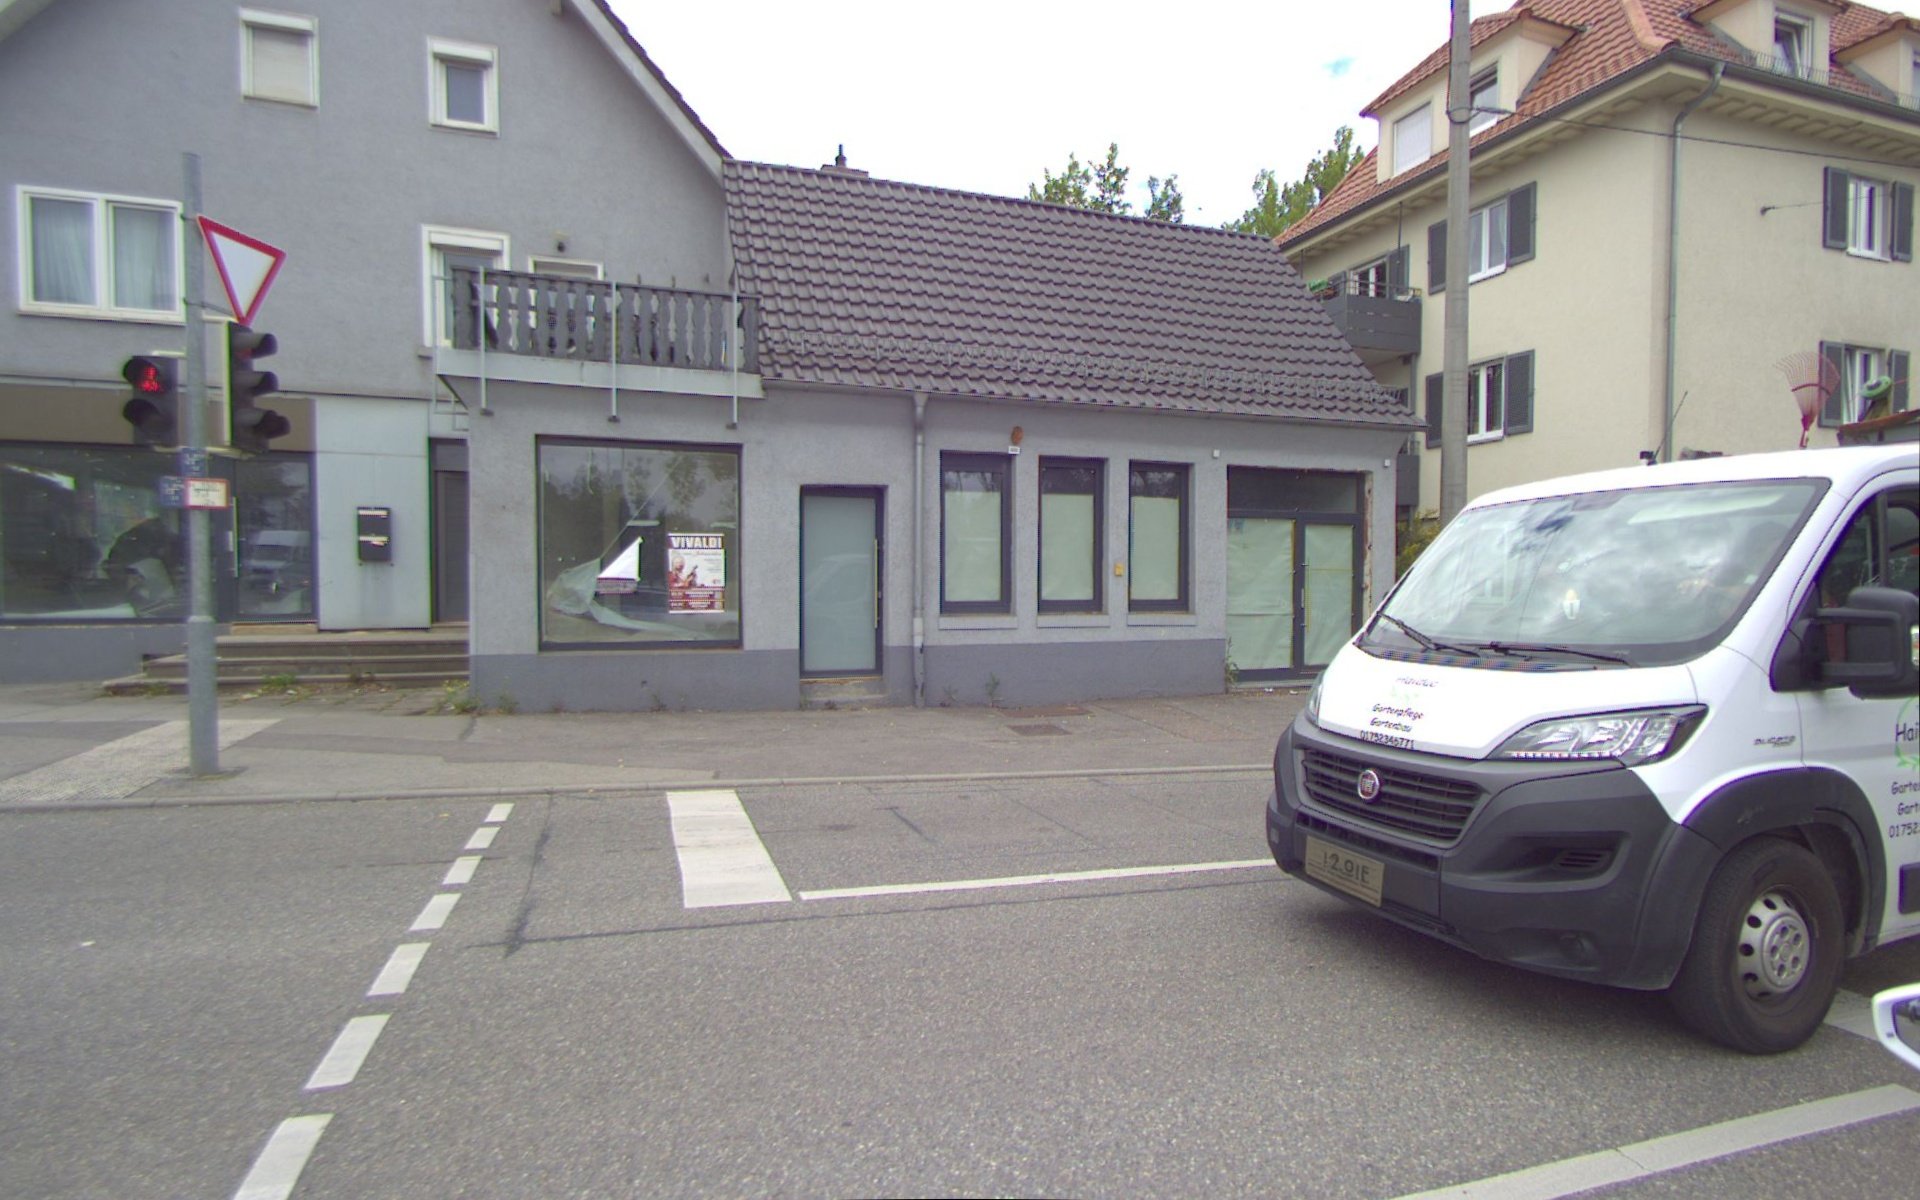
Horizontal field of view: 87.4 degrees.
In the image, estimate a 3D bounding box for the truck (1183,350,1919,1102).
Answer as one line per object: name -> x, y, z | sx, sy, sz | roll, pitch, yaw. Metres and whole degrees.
truck -> 4.532, 0.412, 5.070 | 6.488, 2.231, 2.118 | 1, 2, -20
